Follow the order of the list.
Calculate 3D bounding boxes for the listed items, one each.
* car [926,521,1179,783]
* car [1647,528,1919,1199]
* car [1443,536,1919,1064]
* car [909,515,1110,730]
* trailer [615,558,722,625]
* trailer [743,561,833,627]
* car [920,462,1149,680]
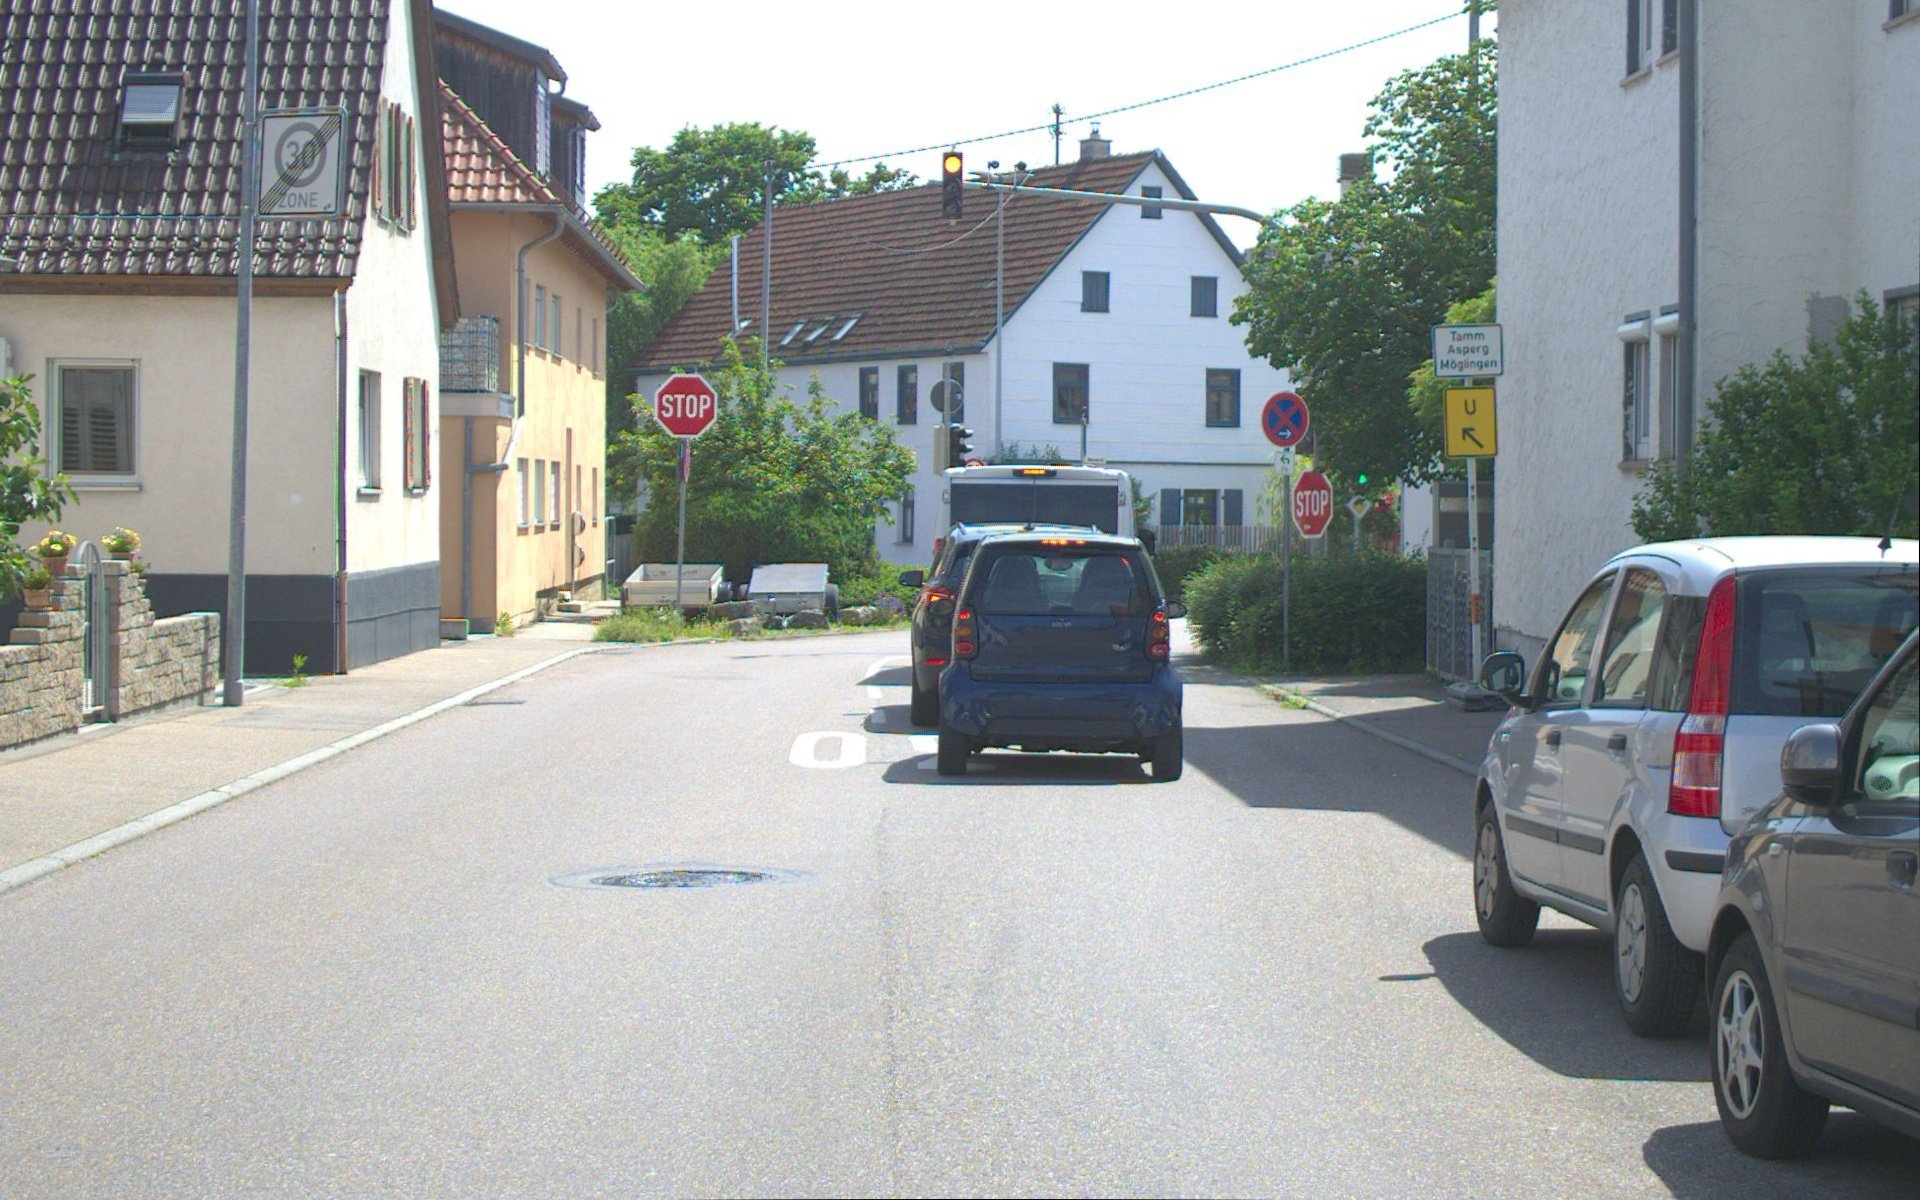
[{"bbox_3d":[0.623,0.285,22.665,1.516,1.561,3.184,2,1,2],"label":"car"},{"bbox_3d":[2.715,0.630,7.362,1.567,1.540,3.450,1,1,-4],"label":"car"},{"bbox_3d":[2.700,0.555,11.621,1.498,1.508,3.362,1,1,-2],"label":"car"},{"bbox_3d":[0.434,0.137,27.588,1.516,1.619,3.184,0,1,2],"label":"car"},{"bbox_3d":[-4.427,-0.135,52.241,1.501,0.924,1.012,3,1,0],"label":"trailer"},{"bbox_3d":[-2.599,-0.099,52.110,1.311,0.967,0.933,1,1,0],"label":"trailer"},{"bbox_3d":[0.867,-0.339,36.565,2.129,2.151,4.735,1,1,5],"label":"car"}]
